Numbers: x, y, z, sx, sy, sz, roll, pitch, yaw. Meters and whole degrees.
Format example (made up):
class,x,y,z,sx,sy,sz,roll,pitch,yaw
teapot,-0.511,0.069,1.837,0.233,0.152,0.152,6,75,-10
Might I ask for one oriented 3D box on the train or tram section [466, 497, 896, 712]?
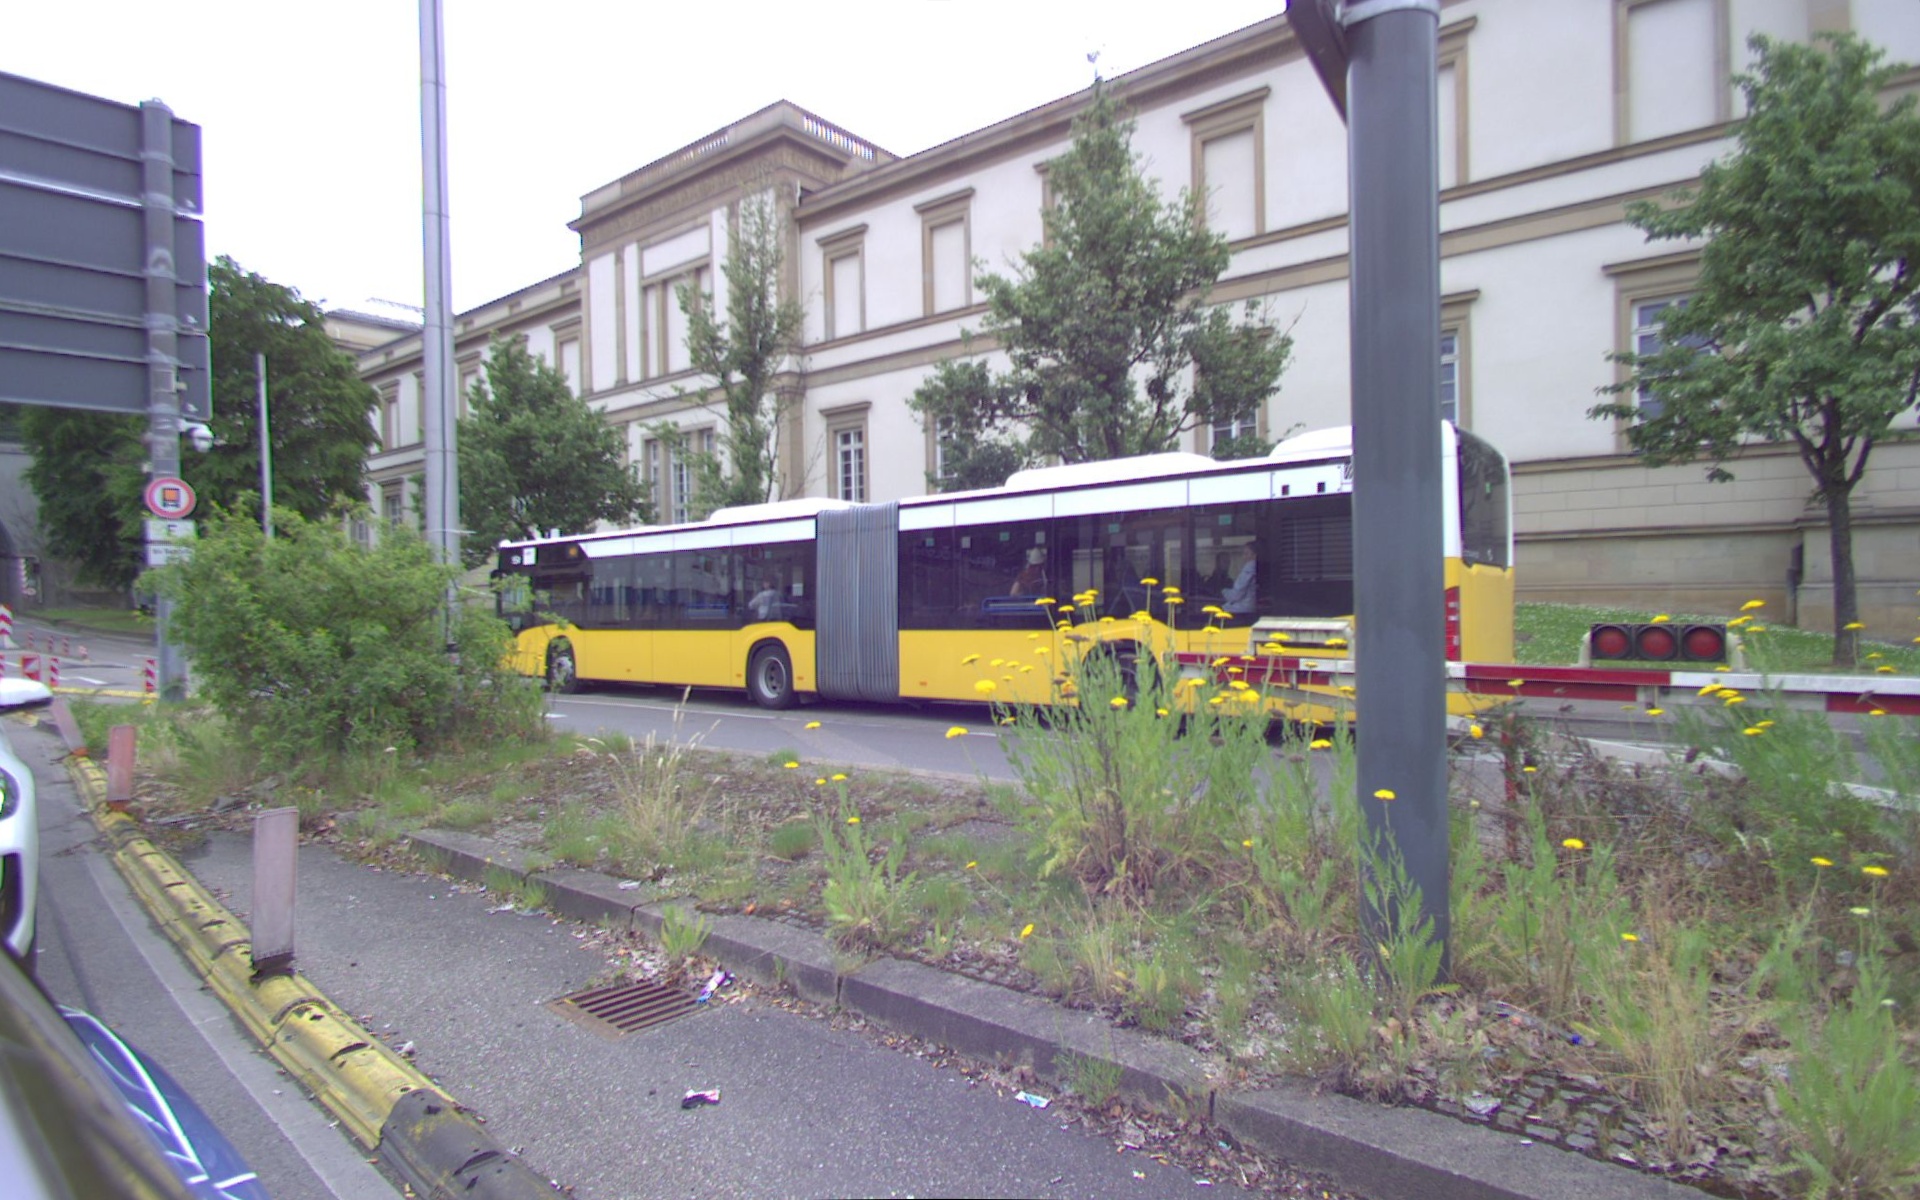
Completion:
class,x,y,z,sx,sy,sz,roll,pitch,yaw
train or tram section,-5.511,0.171,18.538,9.366,3.094,2.667,-2,-2,39

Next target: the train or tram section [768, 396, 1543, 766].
class,x,y,z,sx,sy,sz,roll,pitch,yaw
train or tram section,1.634,-0.053,12.535,9.330,3.094,2.666,-2,-2,41

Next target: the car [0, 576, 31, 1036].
class,x,y,z,sx,sy,sz,roll,pitch,yaw
car,-5.237,0.729,4.203,3.911,1.568,1.733,-1,0,43
